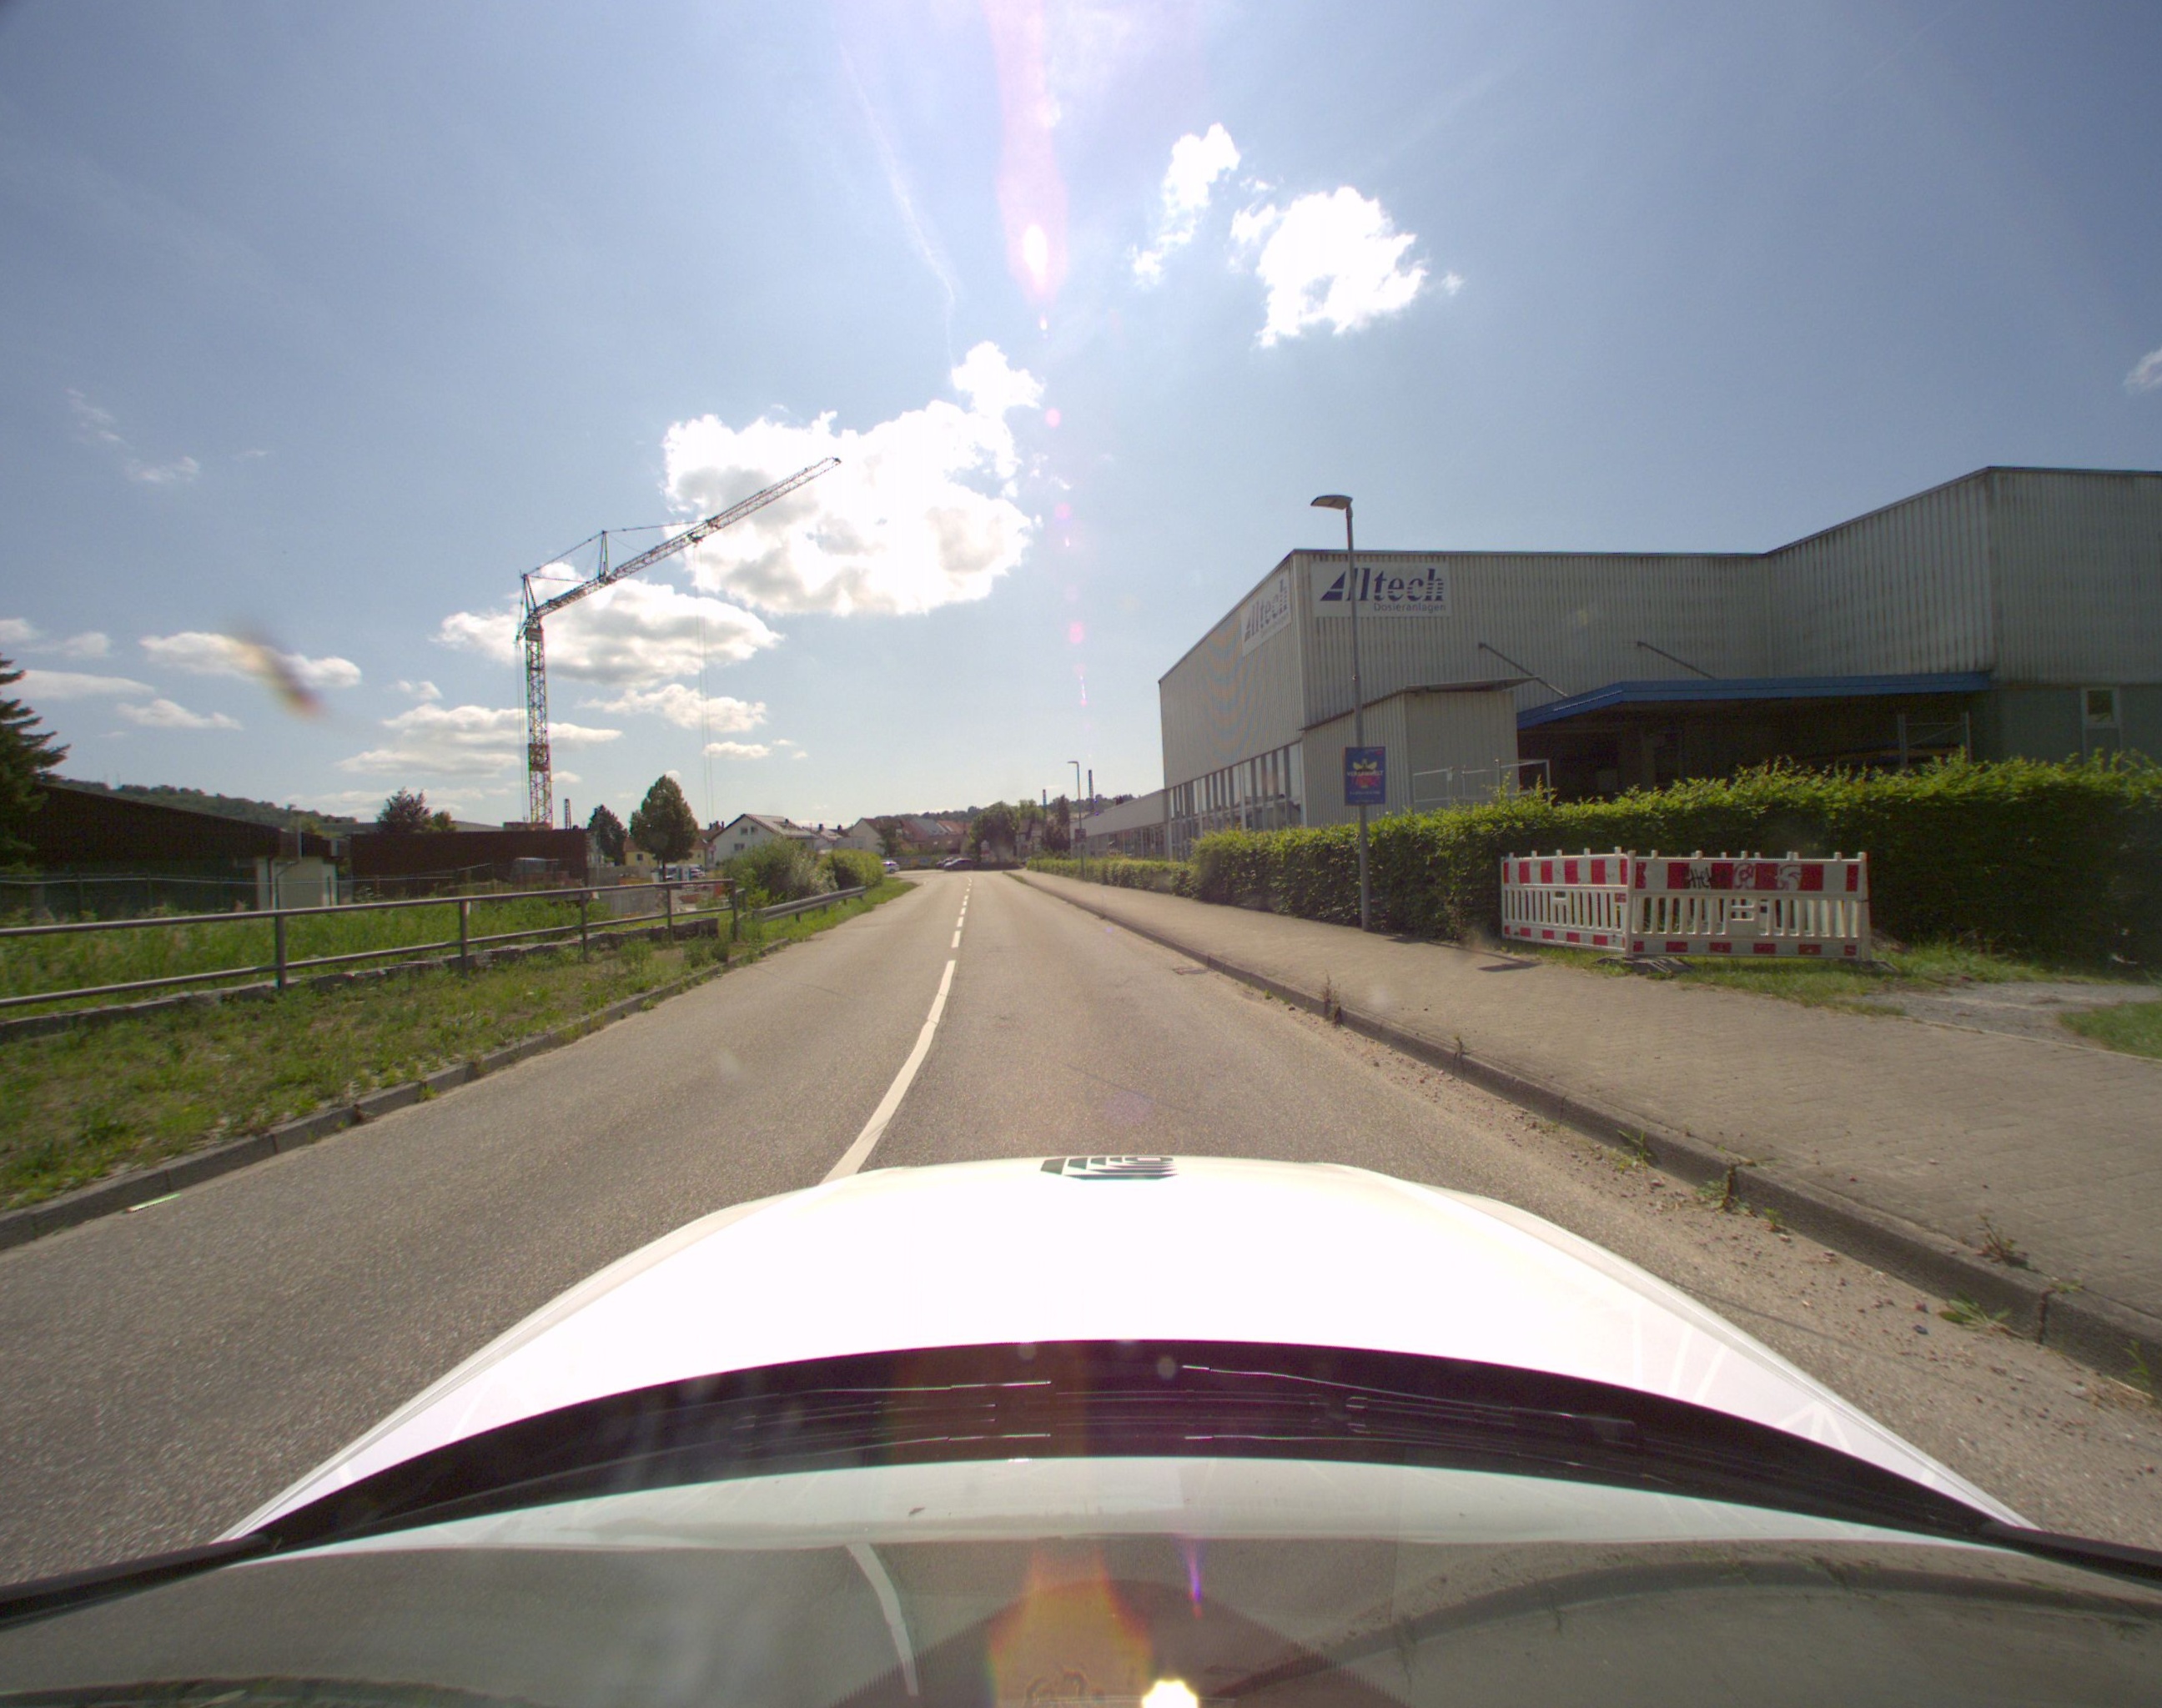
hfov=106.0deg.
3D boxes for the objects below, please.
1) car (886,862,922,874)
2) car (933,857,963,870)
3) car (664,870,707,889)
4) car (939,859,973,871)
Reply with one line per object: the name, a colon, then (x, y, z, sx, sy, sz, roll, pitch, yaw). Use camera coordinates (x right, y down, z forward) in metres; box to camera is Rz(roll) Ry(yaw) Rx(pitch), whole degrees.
car: (-22.712, 1.792, 104.611, 4.297, 1.477, 1.815, 0, -1, -20)
car: (-18.627, 1.360, 113.990, 3.997, 1.730, 1.759, 0, -1, -18)
car: (-47.580, 3.027, 97.913, 4.429, 2.013, 1.979, -2, 0, -33)
car: (-16.376, 1.389, 106.876, 4.197, 1.463, 1.655, -1, -1, -17)
